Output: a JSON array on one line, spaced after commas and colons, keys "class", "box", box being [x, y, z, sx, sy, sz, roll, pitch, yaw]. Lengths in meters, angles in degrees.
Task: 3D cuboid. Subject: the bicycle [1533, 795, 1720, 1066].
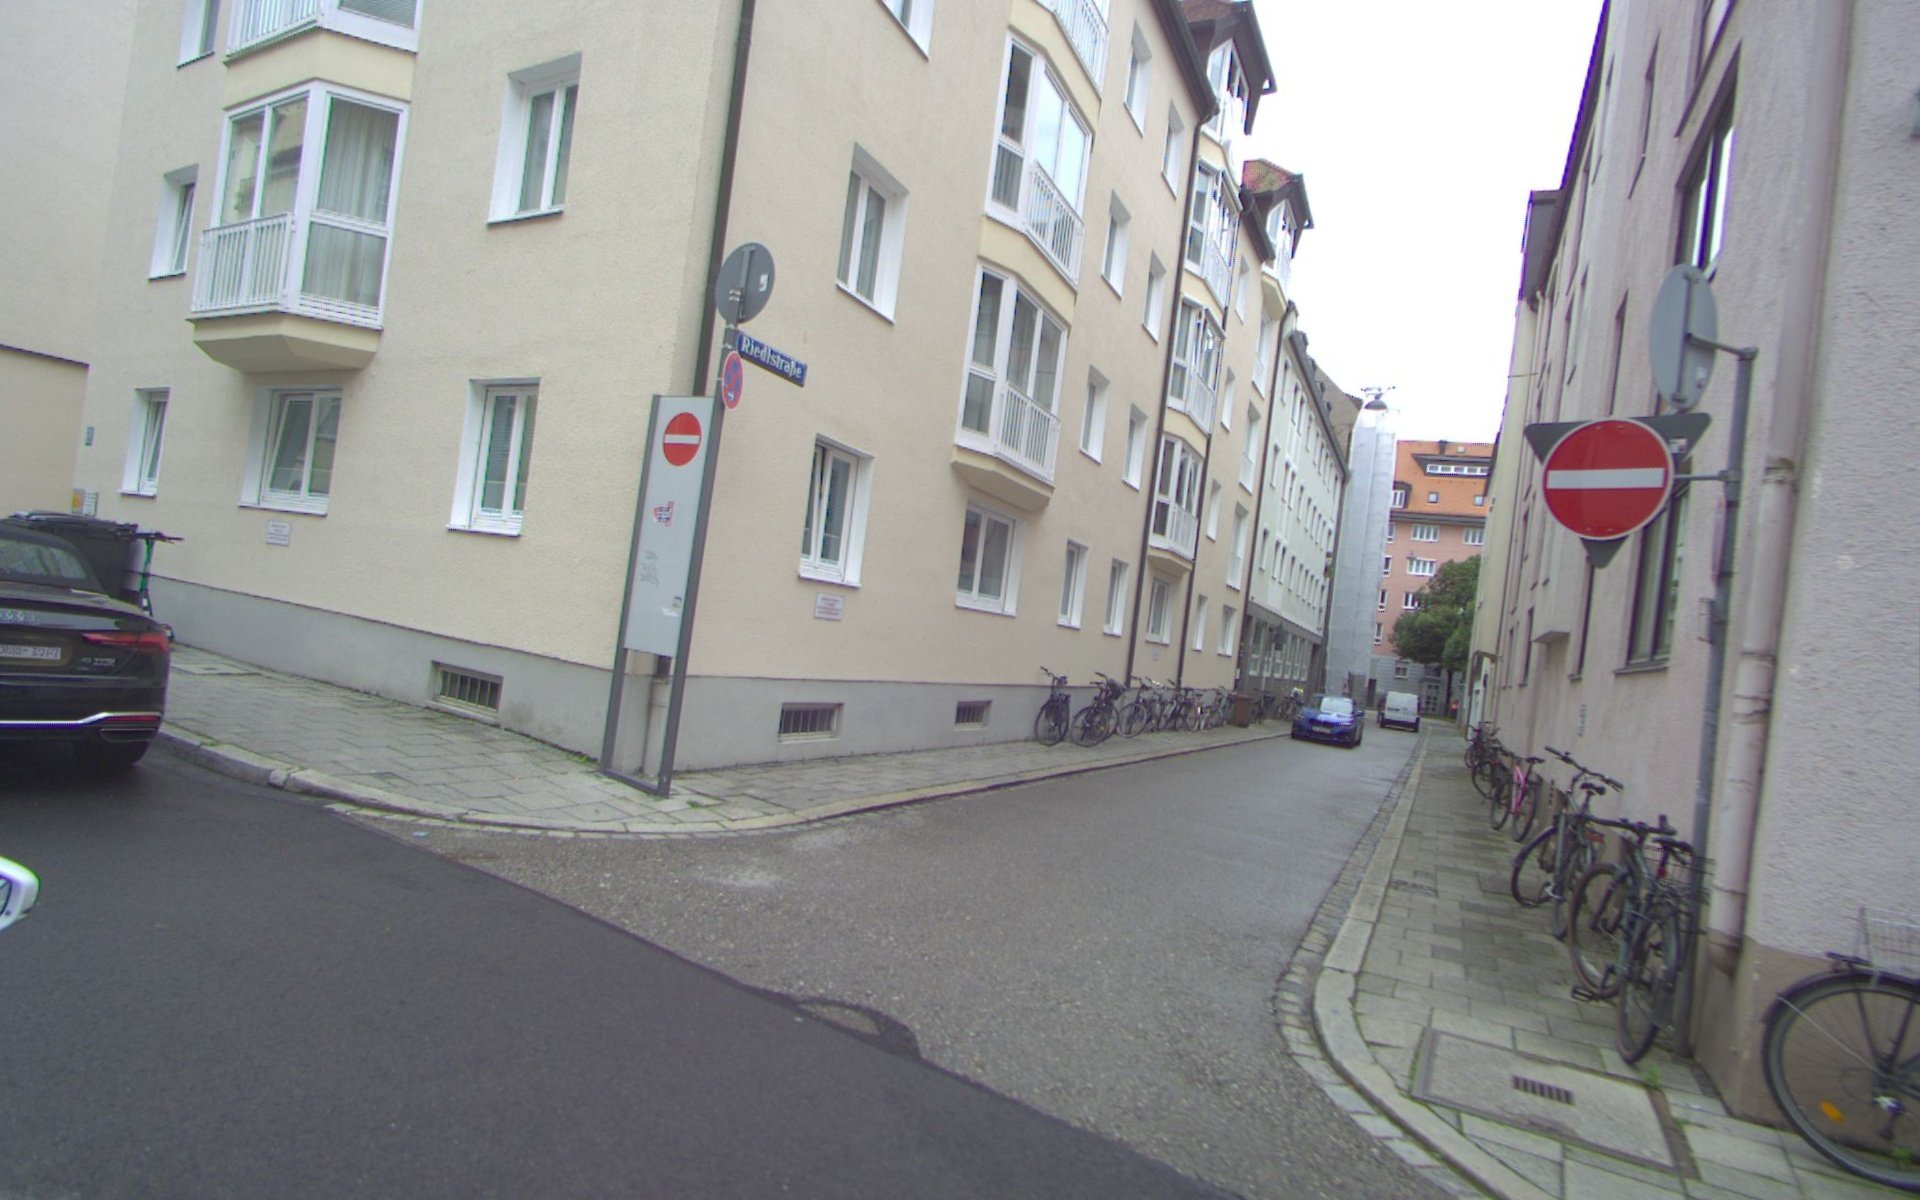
[{"class": "bicycle", "box": [3.354, 1.594, 5.170, 0.543, 0.958, 1.451, 7, -1, 27]}]

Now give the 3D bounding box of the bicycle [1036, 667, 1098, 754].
[{"class": "bicycle", "box": [1.598, 1.644, 15.247, 0.448, 1.100, 1.722, 7, -1, -6]}]

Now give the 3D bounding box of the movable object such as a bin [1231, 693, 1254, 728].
[{"class": "movable object such as a bin", "box": [8.292, 3.236, 29.500, 0.499, 0.947, 0.478, 7, -1, 21]}]

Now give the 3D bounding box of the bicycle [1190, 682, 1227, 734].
[{"class": "bicycle", "box": [5.983, 2.586, 24.323, 0.447, 1.100, 1.724, 7, -1, 4]}]

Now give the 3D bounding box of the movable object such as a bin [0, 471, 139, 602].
[{"class": "movable object such as a bin", "box": [-11.204, -0.792, 12.502, 1.561, 1.441, 1.033, 6, 1, 32]}]

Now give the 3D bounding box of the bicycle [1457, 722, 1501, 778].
[{"class": "bicycle", "box": [11.366, 3.261, 22.056, 0.638, 1.035, 1.908, 7, -1, 24]}]

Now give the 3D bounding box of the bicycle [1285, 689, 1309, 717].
[{"class": "bicycle", "box": [13.727, 4.166, 40.904, 0.638, 1.035, 1.908, 7, -1, 24]}]

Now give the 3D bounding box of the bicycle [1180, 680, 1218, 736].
[{"class": "bicycle", "box": [5.462, 2.452, 23.061, 0.447, 1.100, 1.724, 7, -1, 4]}]

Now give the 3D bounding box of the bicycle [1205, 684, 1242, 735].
[{"class": "bicycle", "box": [6.588, 2.732, 25.247, 0.447, 1.100, 1.724, 7, -1, 4]}]

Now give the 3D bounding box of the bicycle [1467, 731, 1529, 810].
[{"class": "bicycle", "box": [8.699, 2.729, 16.312, 0.638, 1.035, 1.908, 7, -1, 24]}]

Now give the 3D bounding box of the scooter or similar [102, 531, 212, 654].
[{"class": "scooter or similar", "box": [-9.140, -0.087, 11.443, 1.118, 1.282, 0.576, 6, 1, 32]}]

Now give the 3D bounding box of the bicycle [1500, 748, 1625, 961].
[{"class": "bicycle", "box": [4.323, 1.754, 7.317, 0.543, 1.193, 1.736, 7, -1, 27]}]

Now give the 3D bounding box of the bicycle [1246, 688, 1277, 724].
[{"class": "bicycle", "box": [9.864, 3.443, 32.878, 0.638, 1.035, 1.908, 7, -1, 24]}]

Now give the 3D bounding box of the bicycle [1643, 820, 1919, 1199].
[{"class": "bicycle", "box": [3.249, 1.496, 3.479, 1.335, 1.139, 0.551, 7, -1, 33]}]

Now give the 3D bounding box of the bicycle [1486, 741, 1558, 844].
[{"class": "bicycle", "box": [6.858, 2.316, 12.329, 0.600, 1.003, 1.736, 7, -1, 27]}]

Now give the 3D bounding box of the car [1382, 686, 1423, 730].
[{"class": "car", "box": [23.132, 5.578, 52.560, 1.683, 1.880, 3.731, 7, 0, 25]}]

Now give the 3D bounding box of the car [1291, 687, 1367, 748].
[{"class": "car", "box": [11.011, 3.435, 29.915, 1.707, 1.324, 3.731, 7, 0, 25]}]

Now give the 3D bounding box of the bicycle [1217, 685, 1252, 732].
[{"class": "bicycle", "box": [7.429, 2.908, 27.258, 0.447, 1.100, 1.724, 7, -1, 4]}]

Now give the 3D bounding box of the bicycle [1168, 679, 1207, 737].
[{"class": "bicycle", "box": [4.966, 2.338, 22.072, 0.447, 1.100, 1.724, 7, -1, 4]}]

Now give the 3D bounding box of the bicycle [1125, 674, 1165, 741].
[{"class": "bicycle", "box": [3.530, 2.032, 19.269, 0.447, 1.100, 1.724, 7, -1, 5]}]

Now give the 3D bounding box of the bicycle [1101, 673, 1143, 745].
[{"class": "bicycle", "box": [2.849, 1.892, 17.775, 0.447, 1.100, 1.724, 7, -1, 4]}]

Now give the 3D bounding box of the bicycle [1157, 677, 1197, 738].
[{"class": "bicycle", "box": [4.561, 2.236, 21.182, 0.447, 1.100, 1.724, 7, -1, 4]}]

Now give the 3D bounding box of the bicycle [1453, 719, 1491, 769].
[{"class": "bicycle", "box": [12.802, 3.581, 25.180, 0.638, 1.035, 1.908, 7, -1, 24]}]

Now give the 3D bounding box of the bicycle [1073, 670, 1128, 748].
[{"class": "bicycle", "box": [2.321, 1.781, 16.787, 0.447, 1.100, 1.723, 7, -1, -3]}]

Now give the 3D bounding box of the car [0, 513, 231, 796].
[{"class": "car", "box": [-6.609, 0.101, 6.280, 4.341, 1.422, 1.836, 6, -3, 34]}]

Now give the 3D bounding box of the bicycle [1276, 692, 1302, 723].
[{"class": "bicycle", "box": [12.650, 4.118, 38.662, 0.638, 1.035, 1.908, 7, -1, 24]}]
